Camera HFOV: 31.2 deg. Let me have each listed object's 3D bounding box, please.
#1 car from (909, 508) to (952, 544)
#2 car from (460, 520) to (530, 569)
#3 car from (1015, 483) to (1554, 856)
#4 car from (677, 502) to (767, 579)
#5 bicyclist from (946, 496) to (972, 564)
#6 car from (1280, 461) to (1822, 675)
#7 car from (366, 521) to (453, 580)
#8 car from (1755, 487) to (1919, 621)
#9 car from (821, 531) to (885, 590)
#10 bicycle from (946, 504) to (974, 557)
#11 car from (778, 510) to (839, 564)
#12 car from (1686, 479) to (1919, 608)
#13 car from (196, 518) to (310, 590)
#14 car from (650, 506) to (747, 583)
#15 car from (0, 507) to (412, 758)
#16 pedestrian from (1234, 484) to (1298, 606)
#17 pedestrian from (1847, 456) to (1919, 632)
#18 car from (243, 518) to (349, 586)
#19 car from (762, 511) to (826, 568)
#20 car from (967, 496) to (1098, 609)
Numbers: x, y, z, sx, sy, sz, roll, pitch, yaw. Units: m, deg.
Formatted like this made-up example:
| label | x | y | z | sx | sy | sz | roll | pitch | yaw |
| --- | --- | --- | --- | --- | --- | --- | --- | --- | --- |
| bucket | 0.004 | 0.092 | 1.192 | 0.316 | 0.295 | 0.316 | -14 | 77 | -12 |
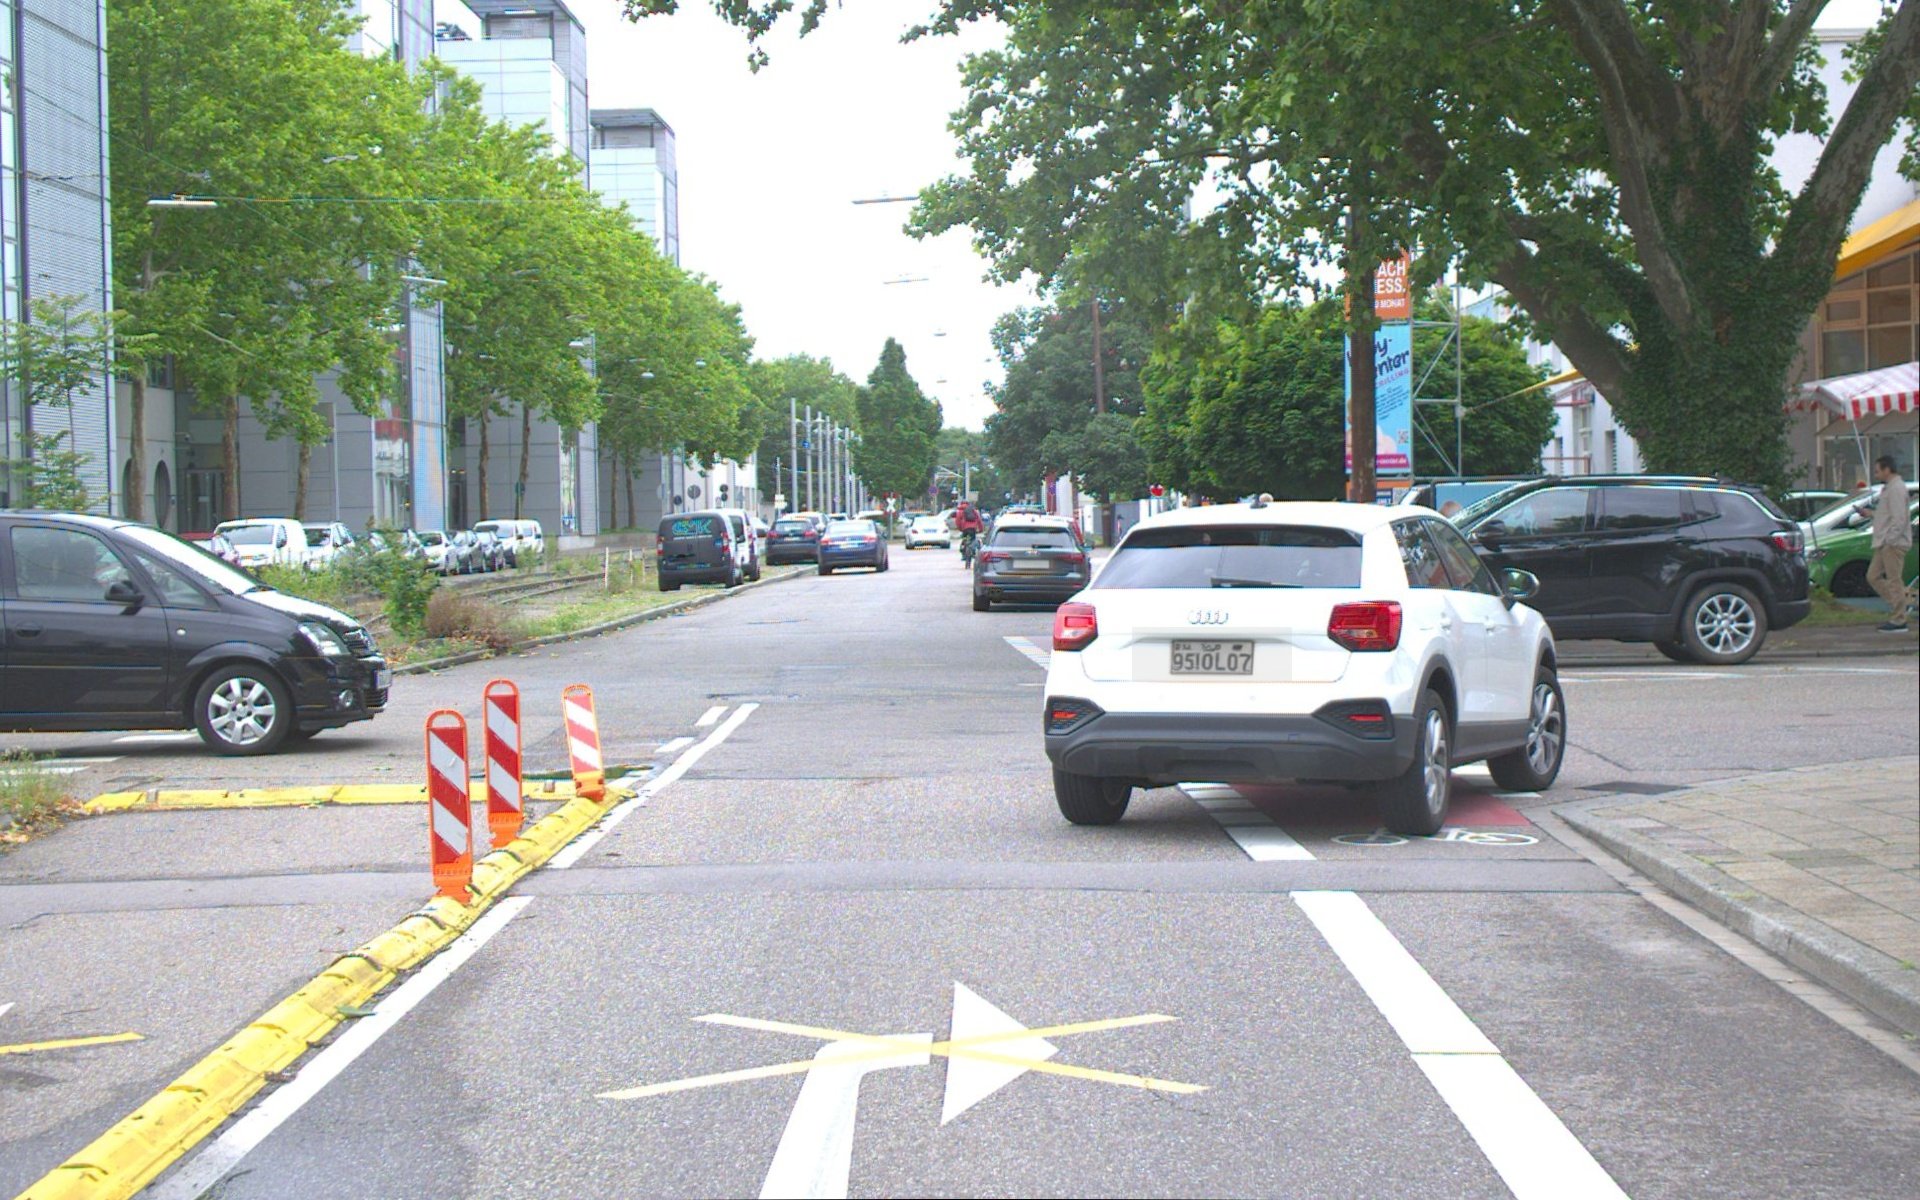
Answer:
| label | x | y | z | sx | sy | sz | roll | pitch | yaw |
| --- | --- | --- | --- | --- | --- | --- | --- | --- | --- |
| car | -1.298 | -3.253 | 150.783 | 1.795 | 1.508 | 3.706 | 0 | 2 | -2 |
| car | -16.422 | -1.990 | 121.511 | 1.877 | 1.626 | 4.206 | -2 | 2 | 0 |
| car | 1.702 | 0.232 | 16.822 | 1.825 | 1.594 | 3.773 | 1 | 2 | 18 |
| car | -5.721 | -1.449 | 83.085 | 1.877 | 1.757 | 4.000 | -2 | 2 | 0 |
| bicyclist | -0.021 | -1.878 | 92.379 | 0.670 | 1.809 | 0.760 | 0 | 2 | -2 |
| car | 4.995 | -0.286 | 29.530 | 4.314 | 1.671 | 1.993 | -1 | 1 | 1 |
| car | -16.187 | -1.479 | 101.343 | 1.877 | 1.626 | 4.206 | -2 | 2 | 0 |
| car | 11.971 | -0.602 | 41.628 | 4.212 | 1.546 | 1.790 | -1 | 1 | -2 |
| car | -2.912 | -1.078 | 93.074 | 1.684 | 1.508 | 3.706 | 0 | 2 | -2 |
| bicycle | -0.013 | -1.875 | 92.229 | 0.670 | 1.389 | 2.167 | 0 | 2 | -2 |
| car | -5.118 | -2.156 | 116.690 | 1.877 | 1.757 | 4.000 | -2 | 2 | 0 |
| car | 11.567 | -0.749 | 43.779 | 4.212 | 1.546 | 1.790 | -1 | 1 | -2 |
| car | -16.930 | -1.128 | 82.496 | 1.877 | 1.626 | 4.206 | -2 | 2 | 0 |
| car | -5.850 | -1.271 | 77.272 | 1.877 | 1.626 | 4.000 | -2 | 2 | 0 |
| car | -5.687 | 0.176 | 22.503 | 3.883 | 1.550 | 1.825 | 1 | 1 | 1 |
| pedestrian | 4.317 | -0.782 | 48.571 | 0.760 | 1.699 | 0.681 | -2 | 1 | -4 |
| pedestrian | 9.163 | -0.557 | 33.793 | 0.679 | 1.699 | 0.598 | -2 | 1 | -1 |
| car | -16.945 | -1.246 | 87.897 | 1.877 | 1.626 | 4.206 | -2 | 2 | 0 |
| car | -5.357 | -1.975 | 111.482 | 1.877 | 1.757 | 4.000 | -2 | 2 | 0 |
| car | 1.085 | -0.759 | 53.312 | 1.877 | 1.626 | 4.000 | -2 | 2 | 0 |
